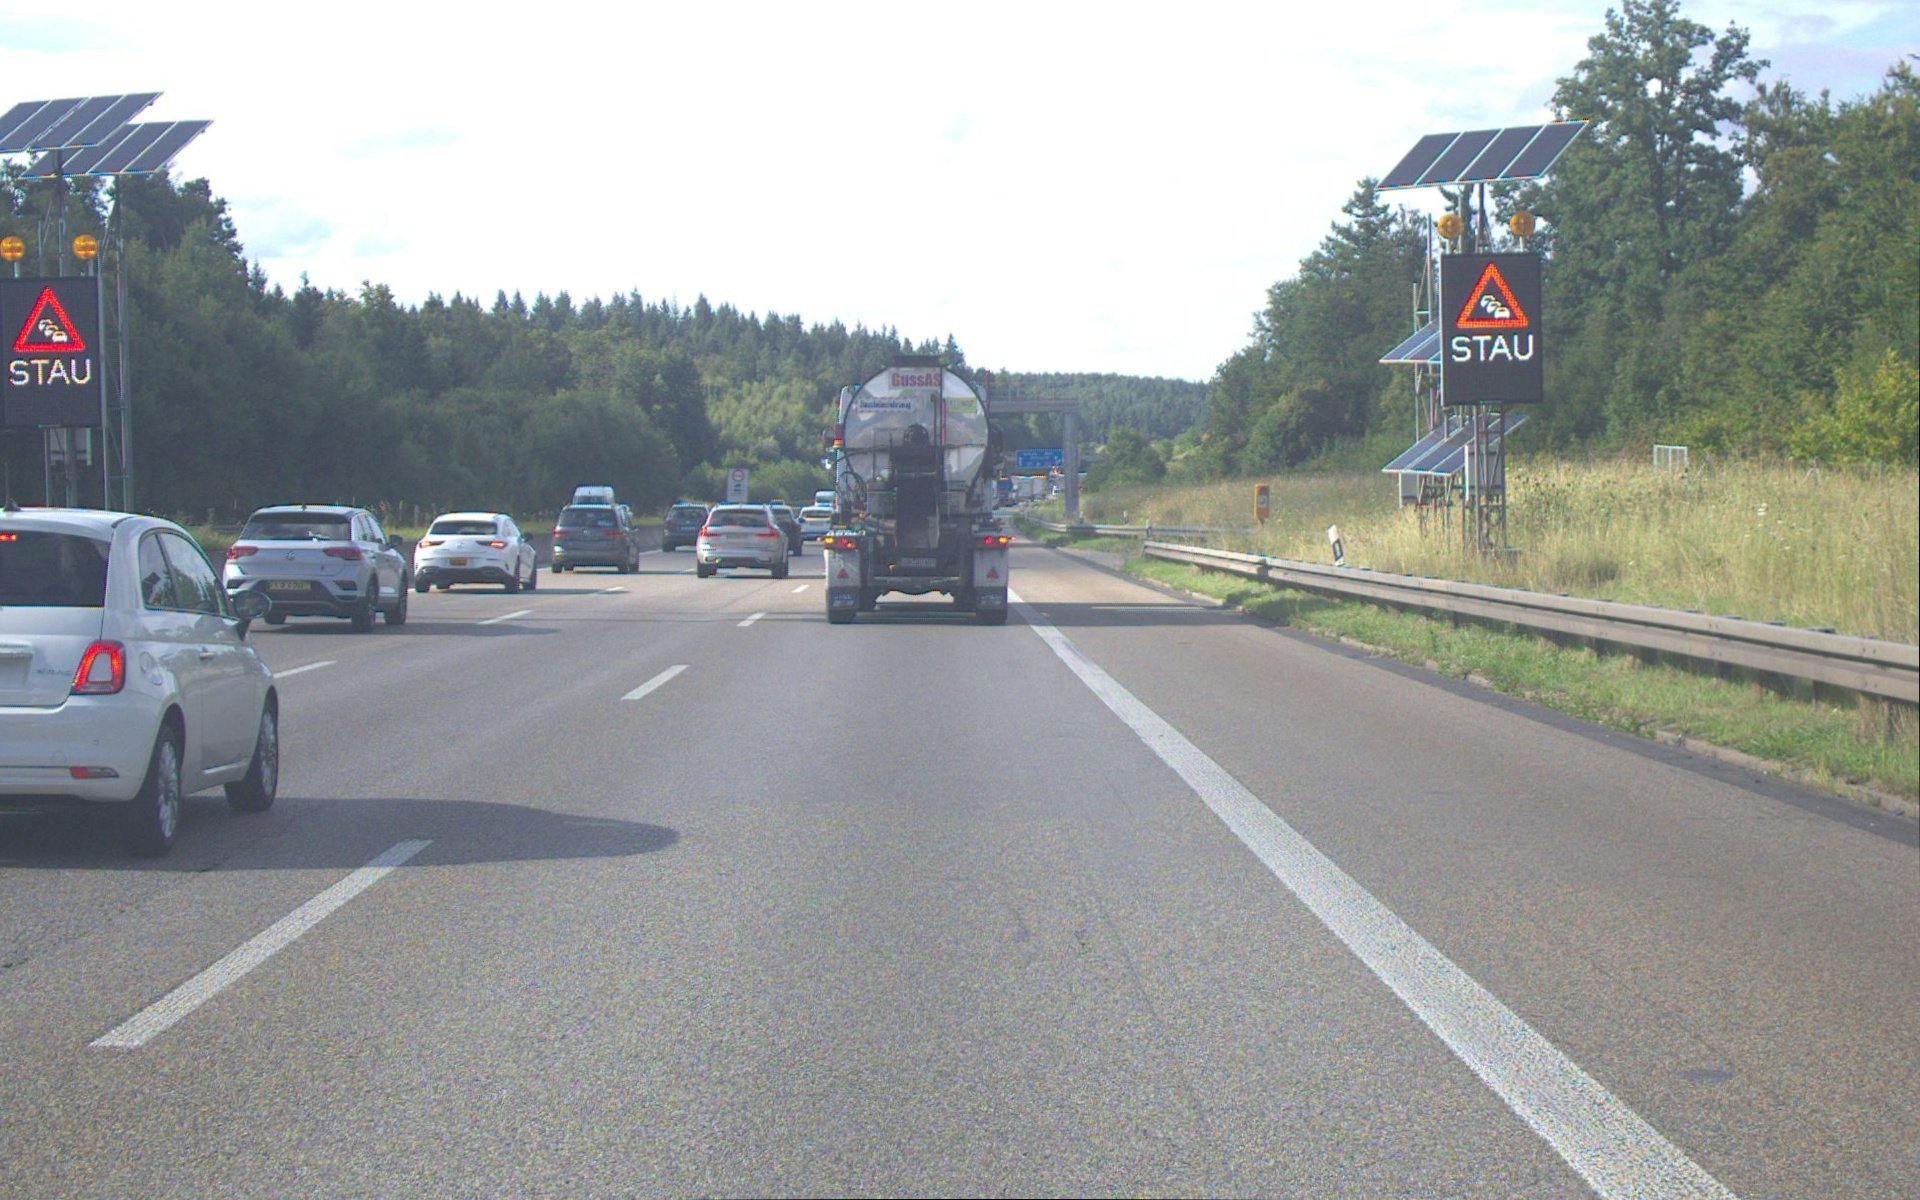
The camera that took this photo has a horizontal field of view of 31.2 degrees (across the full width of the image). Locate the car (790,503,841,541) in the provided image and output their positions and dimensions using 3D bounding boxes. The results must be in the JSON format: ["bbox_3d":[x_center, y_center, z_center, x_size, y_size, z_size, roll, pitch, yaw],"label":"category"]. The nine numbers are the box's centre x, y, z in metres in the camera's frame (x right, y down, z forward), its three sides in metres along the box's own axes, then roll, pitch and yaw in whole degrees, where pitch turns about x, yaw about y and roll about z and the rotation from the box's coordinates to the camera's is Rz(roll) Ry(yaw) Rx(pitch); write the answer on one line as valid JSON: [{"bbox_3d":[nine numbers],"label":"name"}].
[{"bbox_3d":[-5.904,-3.198,140.448,1.942,1.451,4.207,1,2,-1],"label":"car"}]

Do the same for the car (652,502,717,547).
[{"bbox_3d":[-9.542,-2.643,119.162,1.942,1.451,4.207,1,2,-1],"label":"car"}]

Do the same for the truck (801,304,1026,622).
[{"bbox_3d":[-0.612,-1.951,50.556,2.912,4.143,11.270,0,2,0],"label":"truck"}]

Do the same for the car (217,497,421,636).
[{"bbox_3d":[-7.939,-0.456,42.898,1.806,1.580,4.207,1,2,-1],"label":"car"}]

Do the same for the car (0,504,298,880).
[{"bbox_3d":[-4.199,0.329,15.901,1.618,1.539,3.520,1,1,-1],"label":"car"}]

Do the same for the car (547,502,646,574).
[{"bbox_3d":[-8.570,-1.496,81.415,1.942,1.580,4.207,1,2,-1],"label":"car"}]

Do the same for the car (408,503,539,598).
[{"bbox_3d":[-8.732,-0.926,62.040,1.806,1.580,4.207,1,2,-1],"label":"car"}]

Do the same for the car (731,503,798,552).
[{"bbox_3d":[-6.276,-2.353,110.802,1.942,1.451,4.207,1,2,-1],"label":"car"}]

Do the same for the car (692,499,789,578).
[{"bbox_3d":[-4.892,-1.405,77.108,1.942,1.649,4.207,1,2,-1],"label":"car"}]
